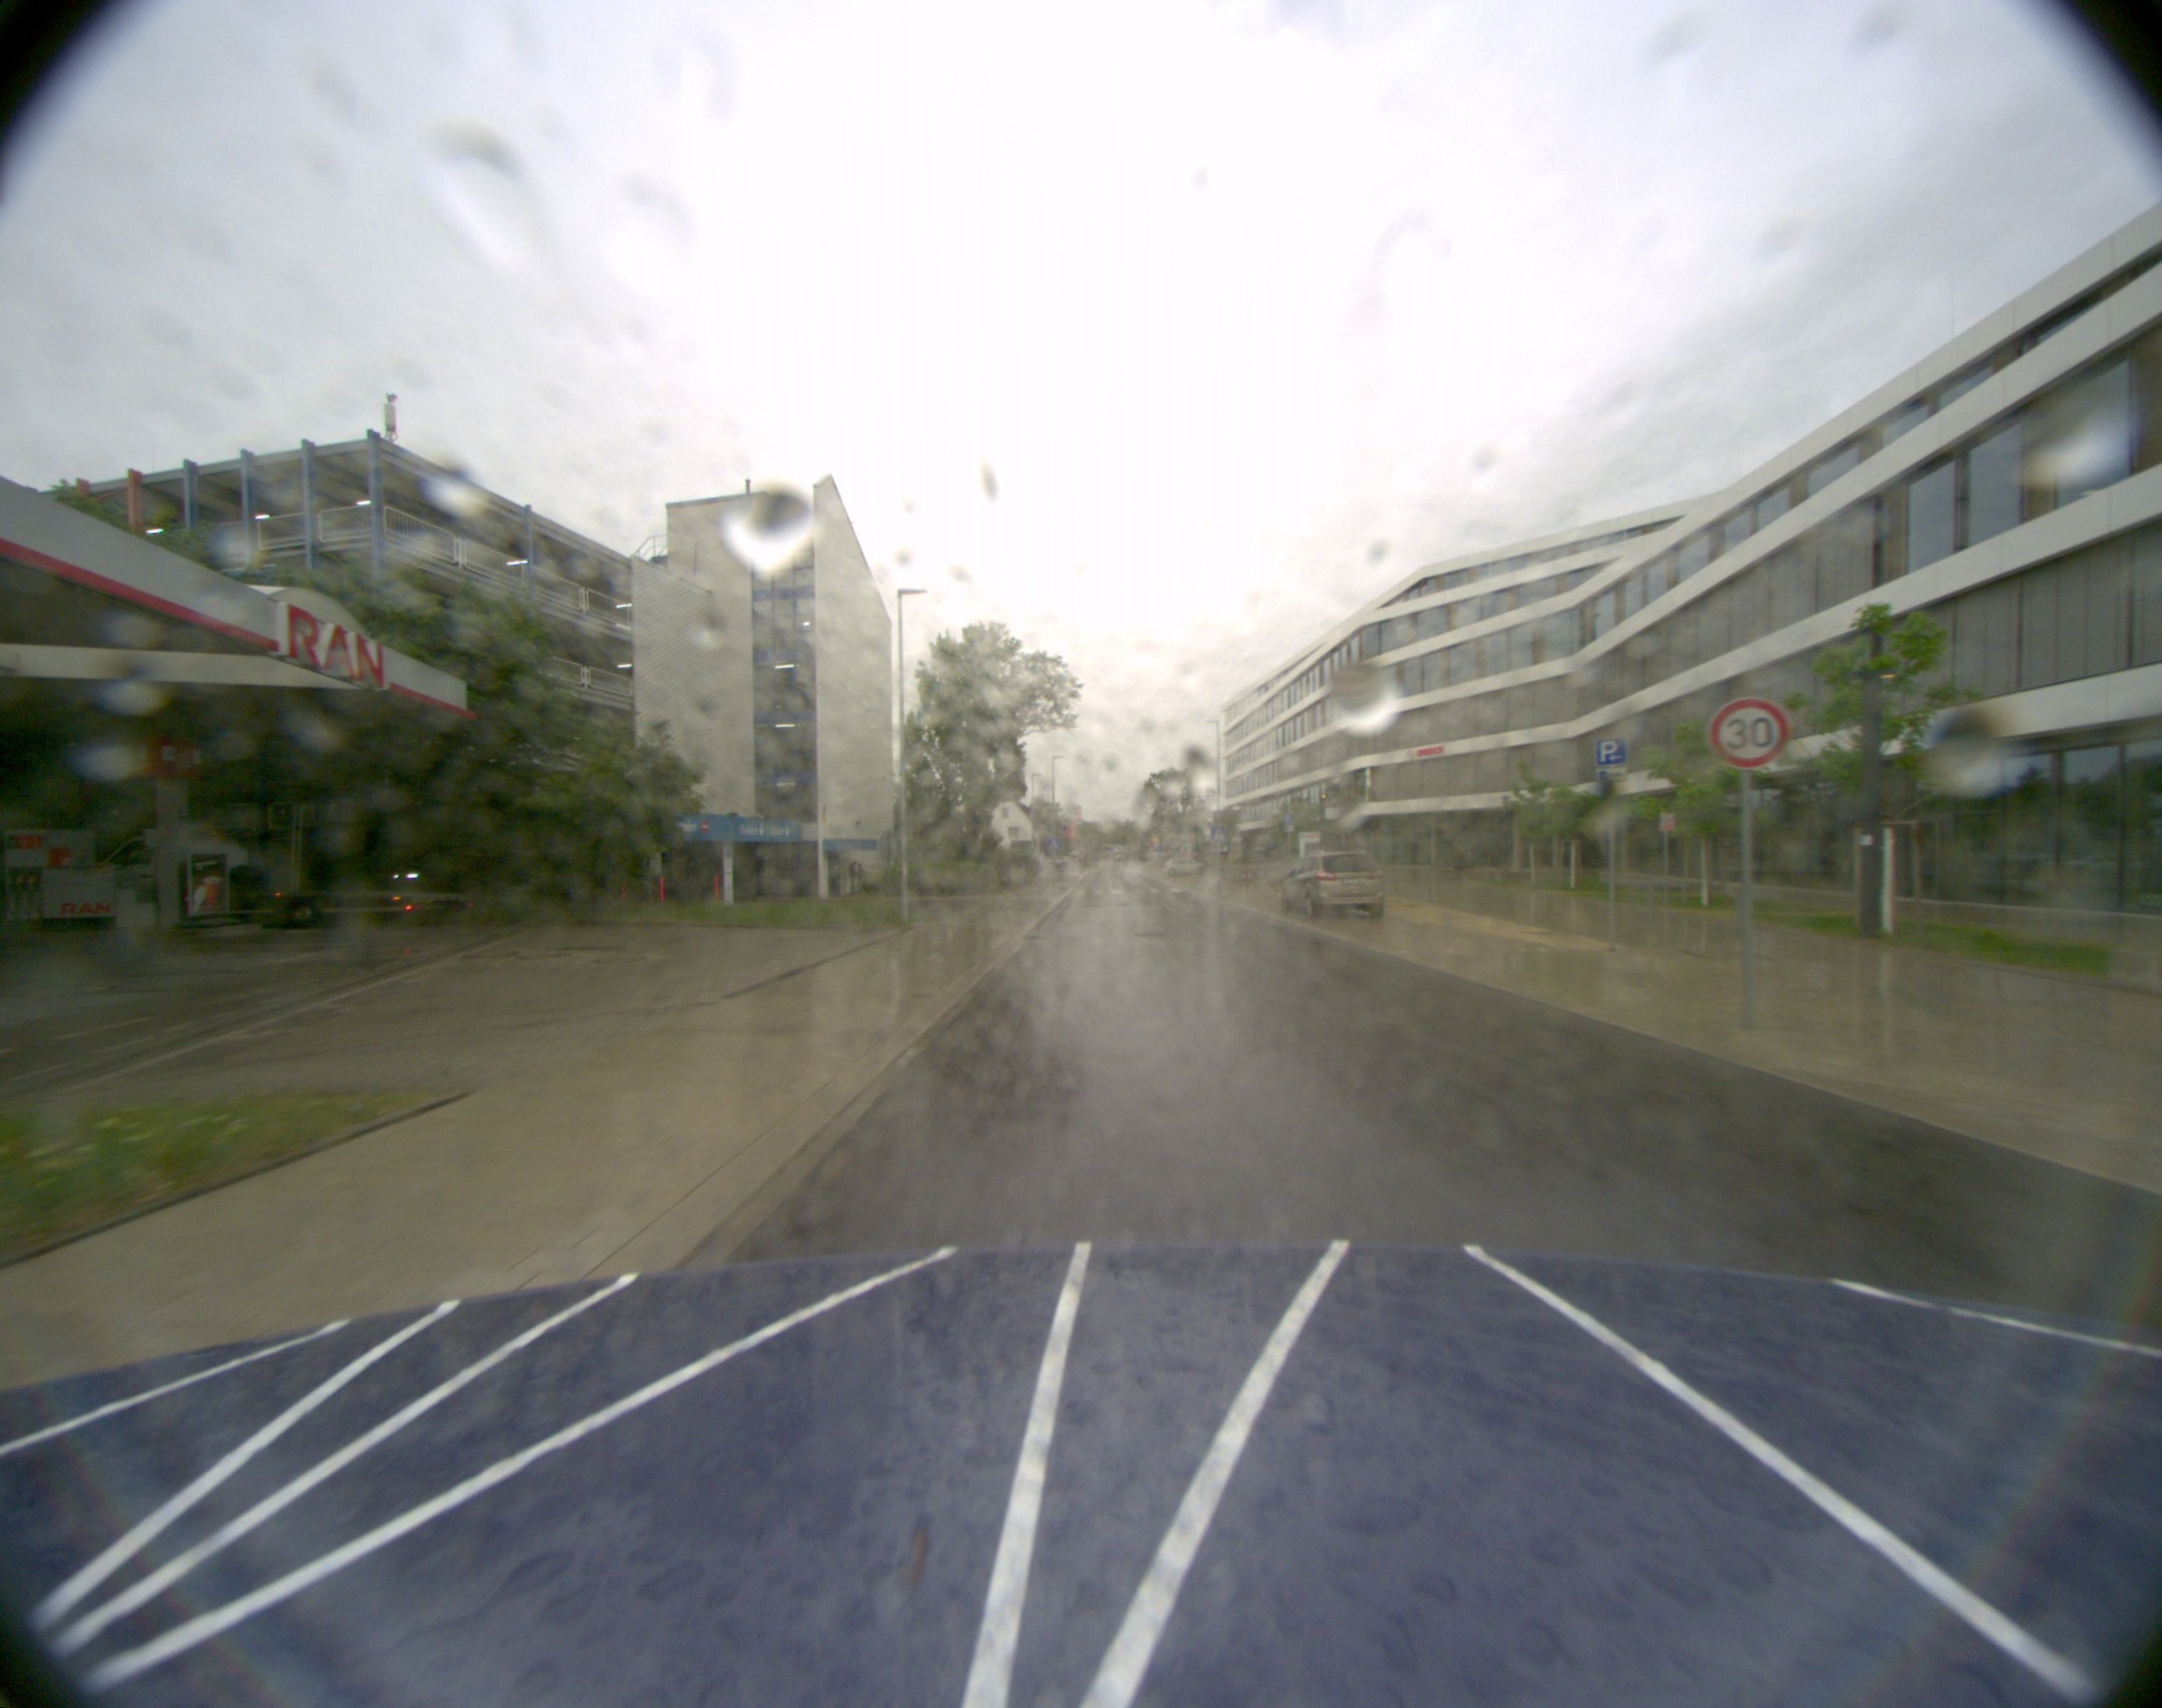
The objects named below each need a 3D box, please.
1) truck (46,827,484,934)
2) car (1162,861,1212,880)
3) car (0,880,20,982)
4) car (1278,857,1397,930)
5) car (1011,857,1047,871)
[{"bbox_3d":[-18.448,0.647,17.548,7.297,2.193,2.086,1,-3,-5],"label":"truck"},{"bbox_3d":[9.138,1.423,65.558,4.166,1.411,2.001,-2,0,6],"label":"car"},{"bbox_3d":[-16.833,1.090,9.427,4.003,1.419,1.773,-1,0,-16],"label":"car"},{"bbox_3d":[6.595,0.936,20.041,1.841,1.696,4.324,-1,0,3],"label":"car"},{"bbox_3d":[-5.926,1.132,87.140,3.998,1.444,1.869,-1,0,-2],"label":"car"}]
